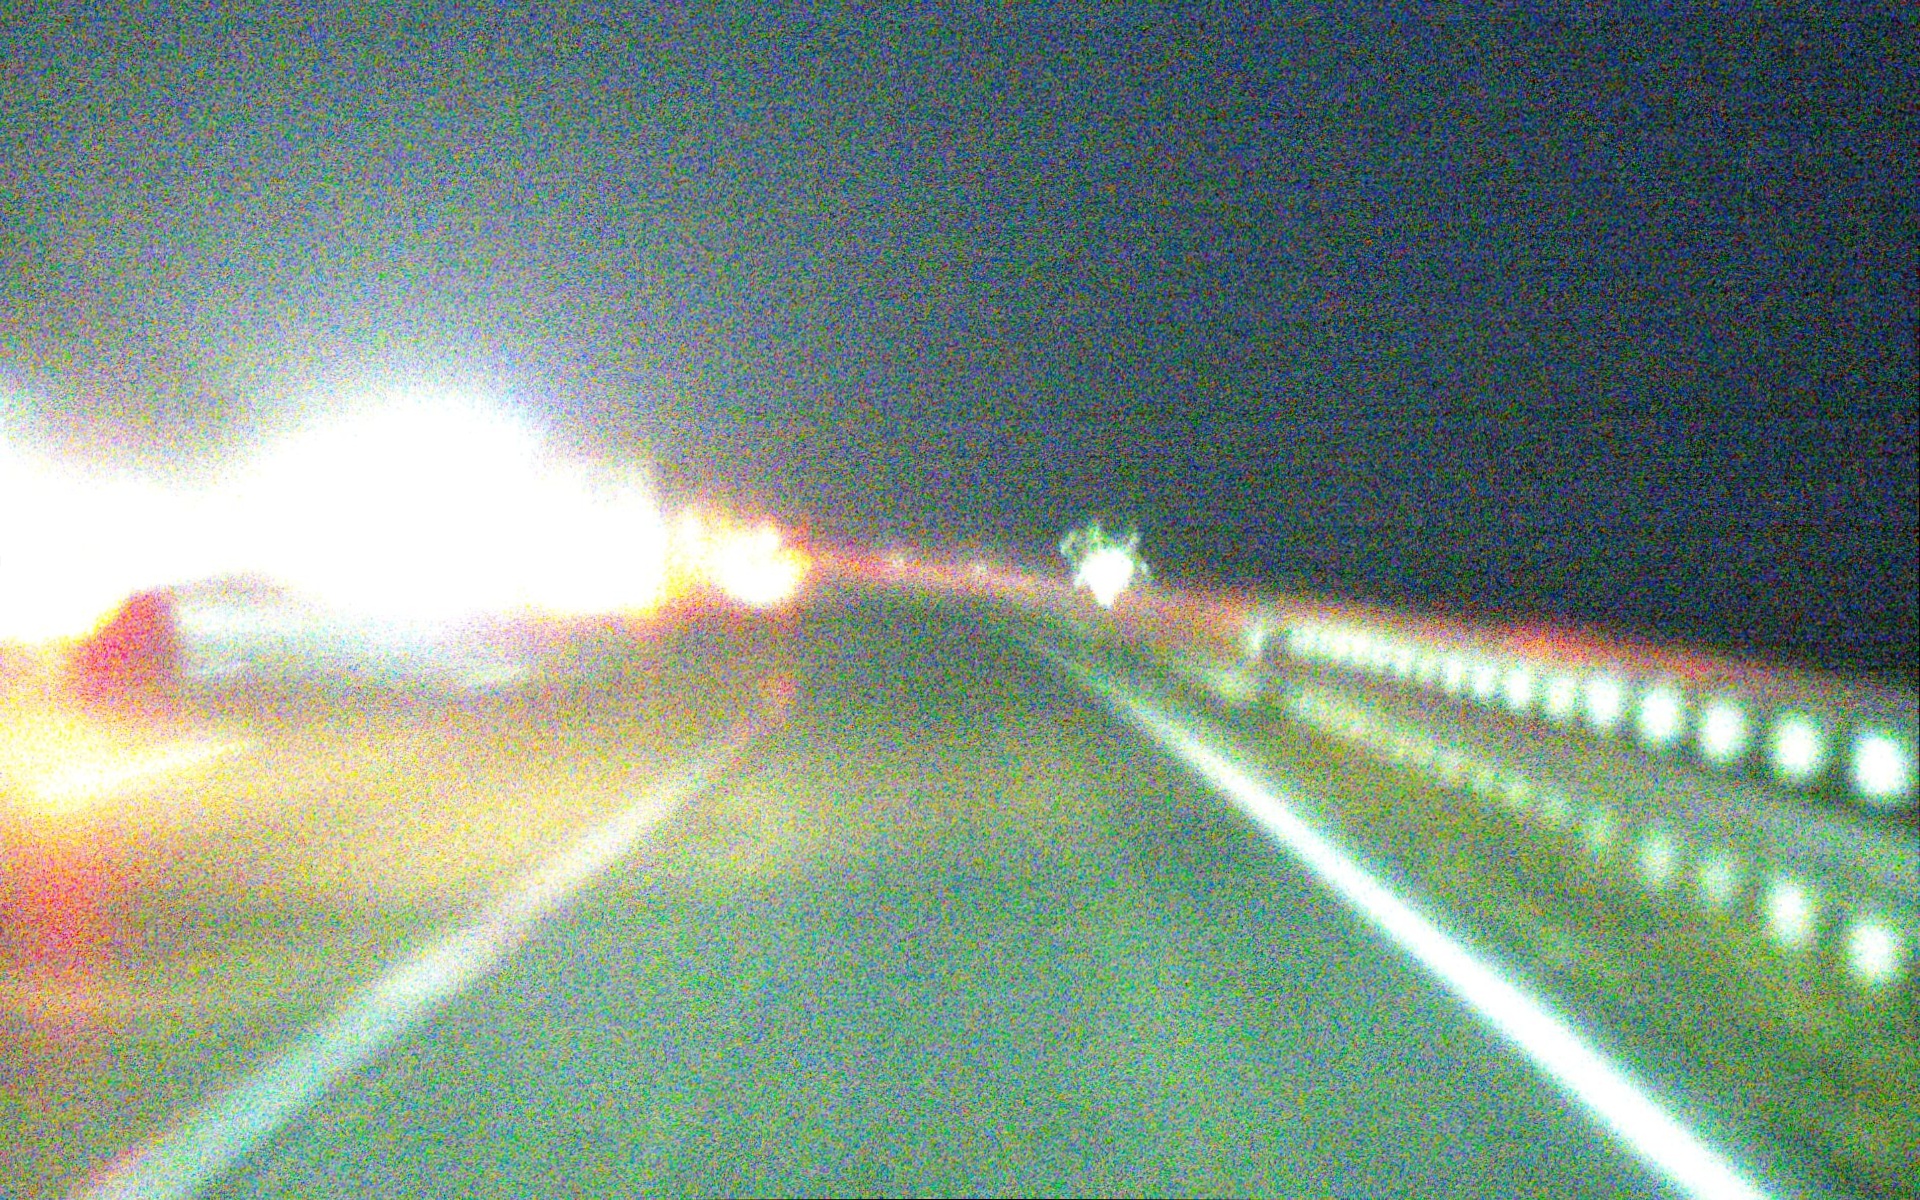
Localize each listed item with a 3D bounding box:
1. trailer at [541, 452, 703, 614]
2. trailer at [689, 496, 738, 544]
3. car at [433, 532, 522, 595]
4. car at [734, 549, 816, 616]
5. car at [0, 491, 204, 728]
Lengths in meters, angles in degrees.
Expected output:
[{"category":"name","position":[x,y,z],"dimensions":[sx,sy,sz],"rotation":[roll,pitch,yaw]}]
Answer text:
[{"category":"trailer","position":[-8.619,-1.660,89.221],"dimensions":[2.591,3.712,13.653],"rotation":[4,0,0]},{"category":"trailer","position":[-15.185,-4.877,211.128],"dimensions":[2.687,2.690,12.860],"rotation":[4,1,-5]},{"category":"car","position":[-13.515,-1.034,96.506],"dimensions":[1.993,1.612,4.000],"rotation":[4,1,-3]},{"category":"car","position":[-5.396,-0.524,100.777],"dimensions":[1.993,1.812,4.000],"rotation":[4,1,1]},{"category":"car","position":[-8.630,0.015,32.126],"dimensions":[1.993,2.007,4.568],"rotation":[4,1,0]}]
